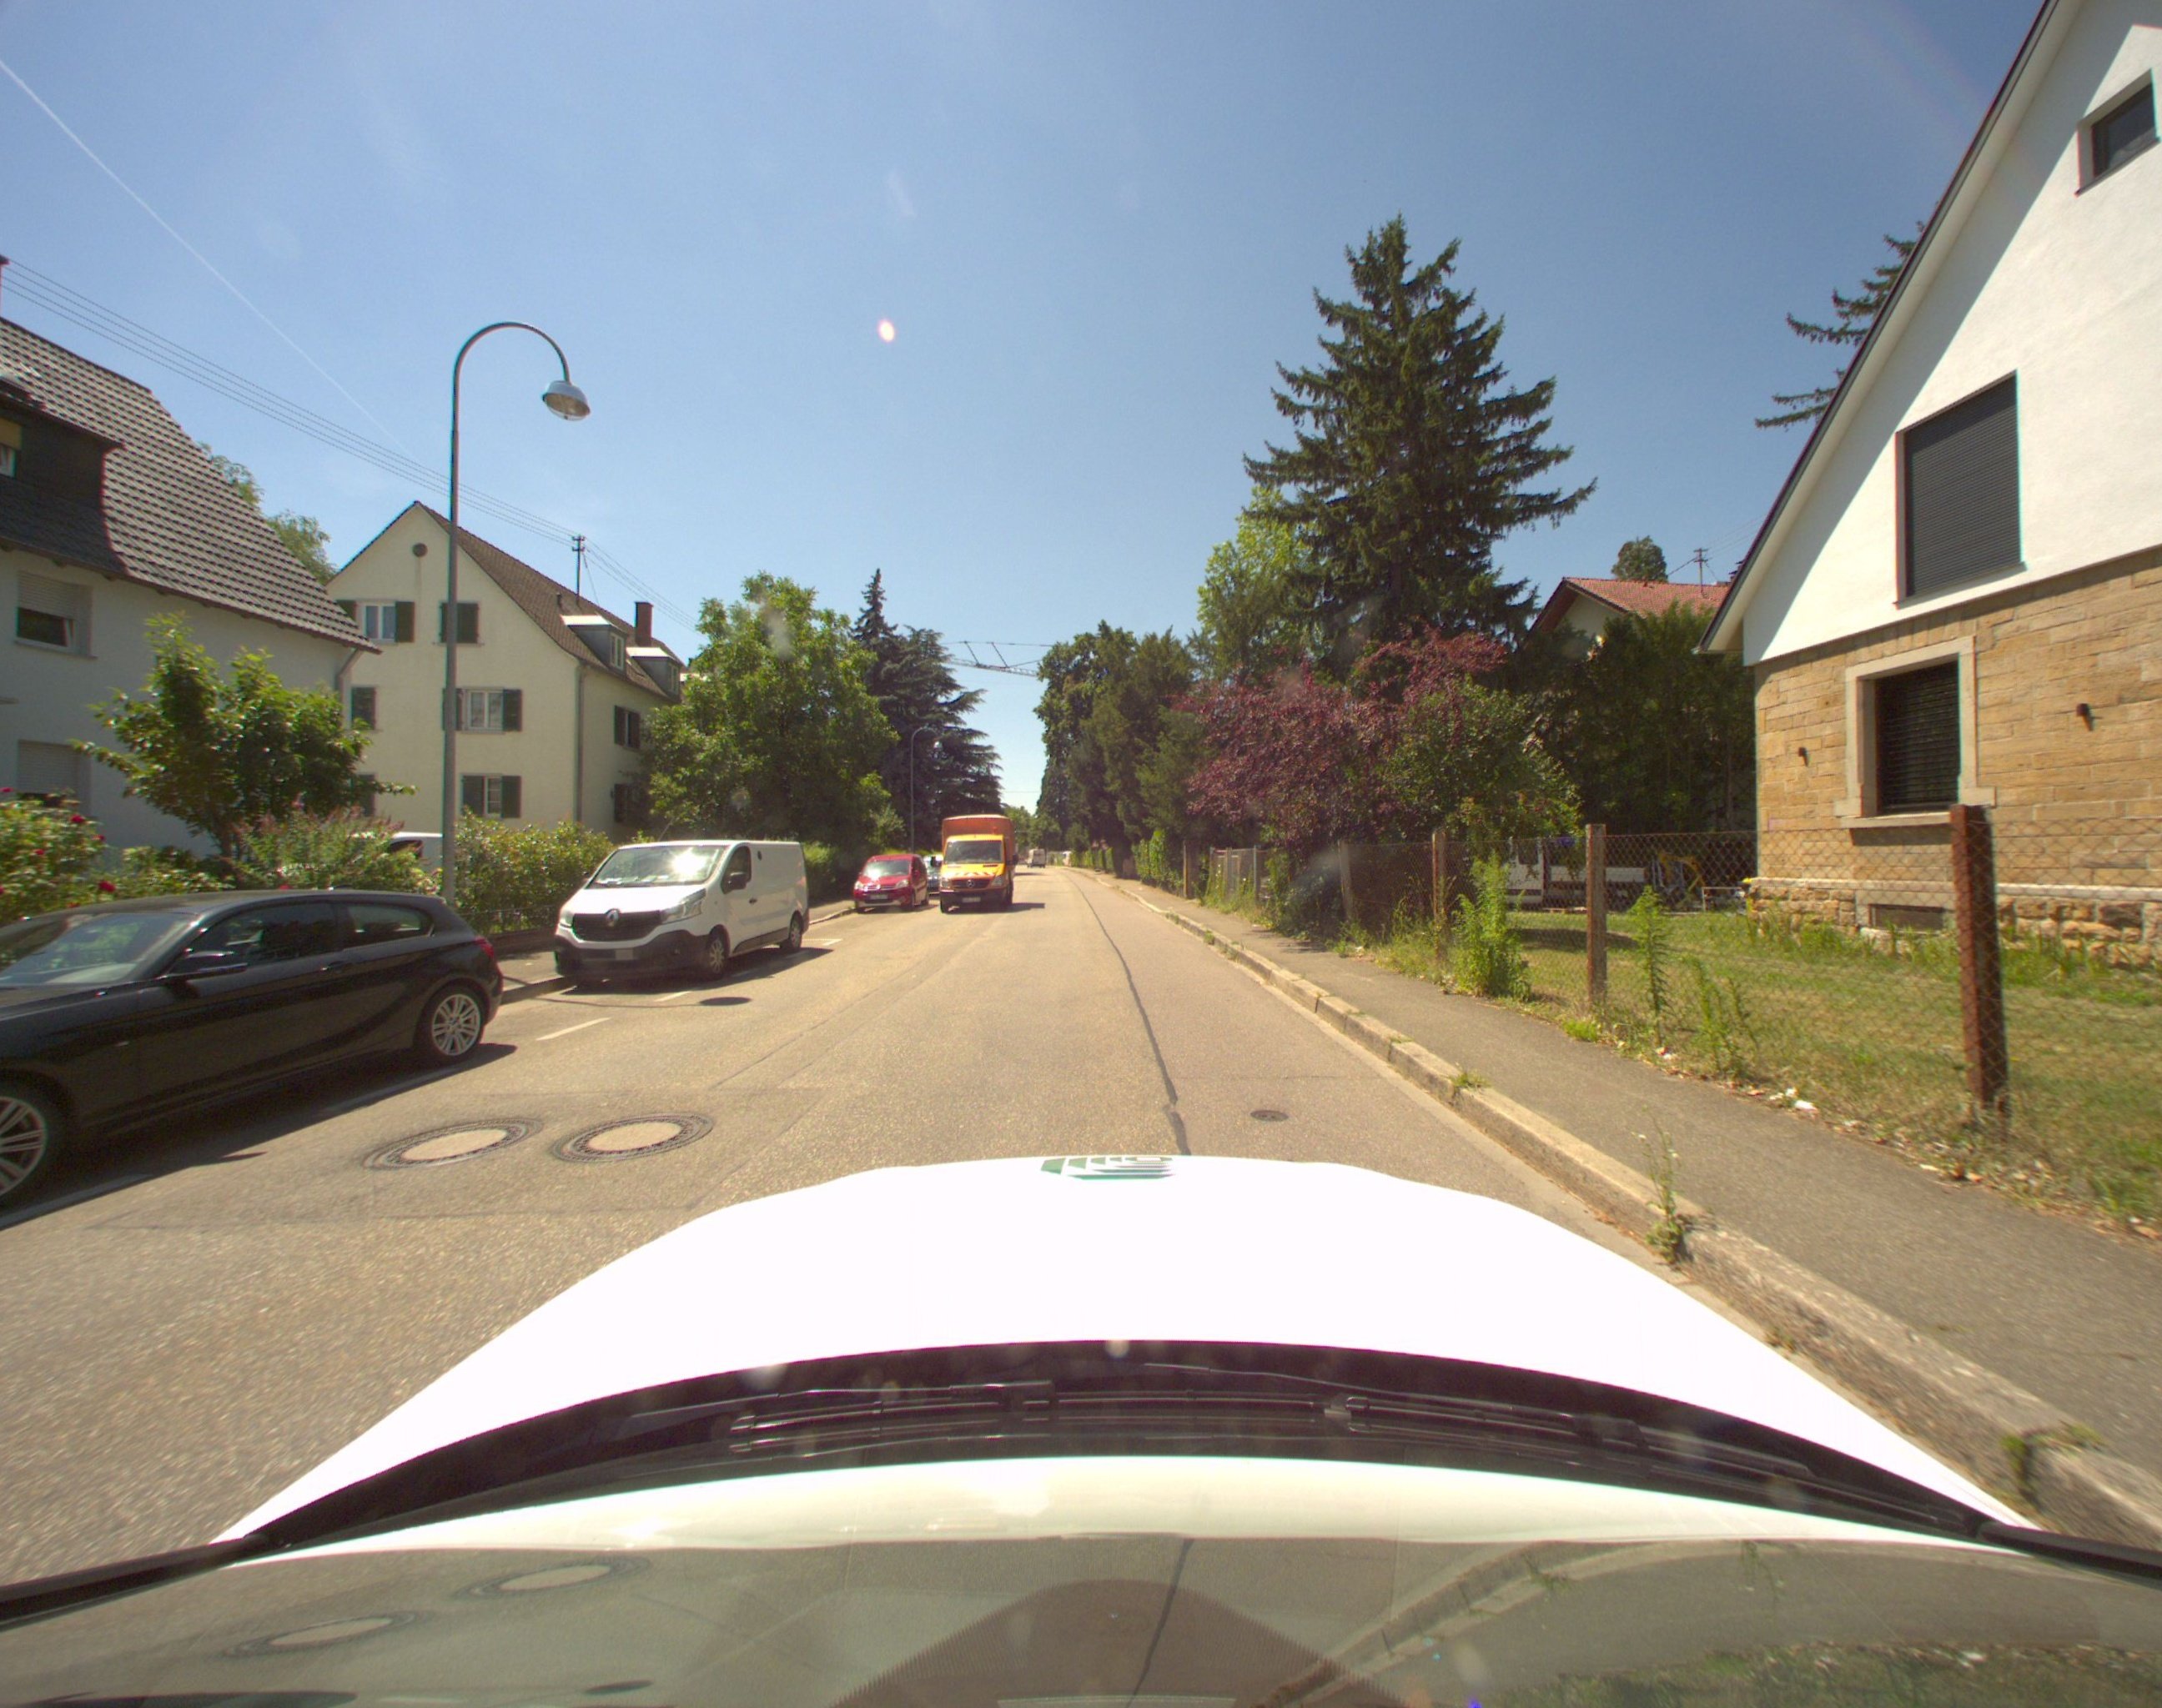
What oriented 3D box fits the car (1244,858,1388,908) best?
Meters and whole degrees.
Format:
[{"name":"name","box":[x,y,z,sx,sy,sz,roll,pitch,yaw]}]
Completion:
[{"name":"car","box":[7.010,0.846,24.541,3.848,1.380,1.766,1,0,1]}]

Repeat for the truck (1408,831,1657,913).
[{"name":"truck","box":[13.606,0.514,24.710,6.599,2.167,1.976,2,0,-5]}]

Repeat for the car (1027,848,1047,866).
[{"name":"car","box":[-6.179,0.413,114.144,2.143,2.315,4.836,-1,0,-10]}]

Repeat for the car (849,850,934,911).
[{"name":"car","box":[-5.925,0.780,25.963,1.753,1.727,4.454,-1,0,-2]}]

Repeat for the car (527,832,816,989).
[{"name":"car","box":[-5.782,0.724,12.375,1.880,1.881,4.979,-1,-1,0]}]

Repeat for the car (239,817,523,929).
[{"name":"car","box":[-13.387,0.346,15.967,1.705,1.870,4.008,2,-1,8]}]

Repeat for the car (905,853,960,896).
[{"name":"car","box":[-6.475,0.880,35.948,1.643,1.752,4.352,-1,0,-1]}]

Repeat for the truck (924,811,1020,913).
[{"name":"truck","box":[-3.275,0.242,25.727,2.367,2.830,5.655,-1,0,-2]}]

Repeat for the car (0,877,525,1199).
[{"name":"car","box":[-5.760,0.912,5.004,1.693,1.384,4.236,-2,0,1]}]
